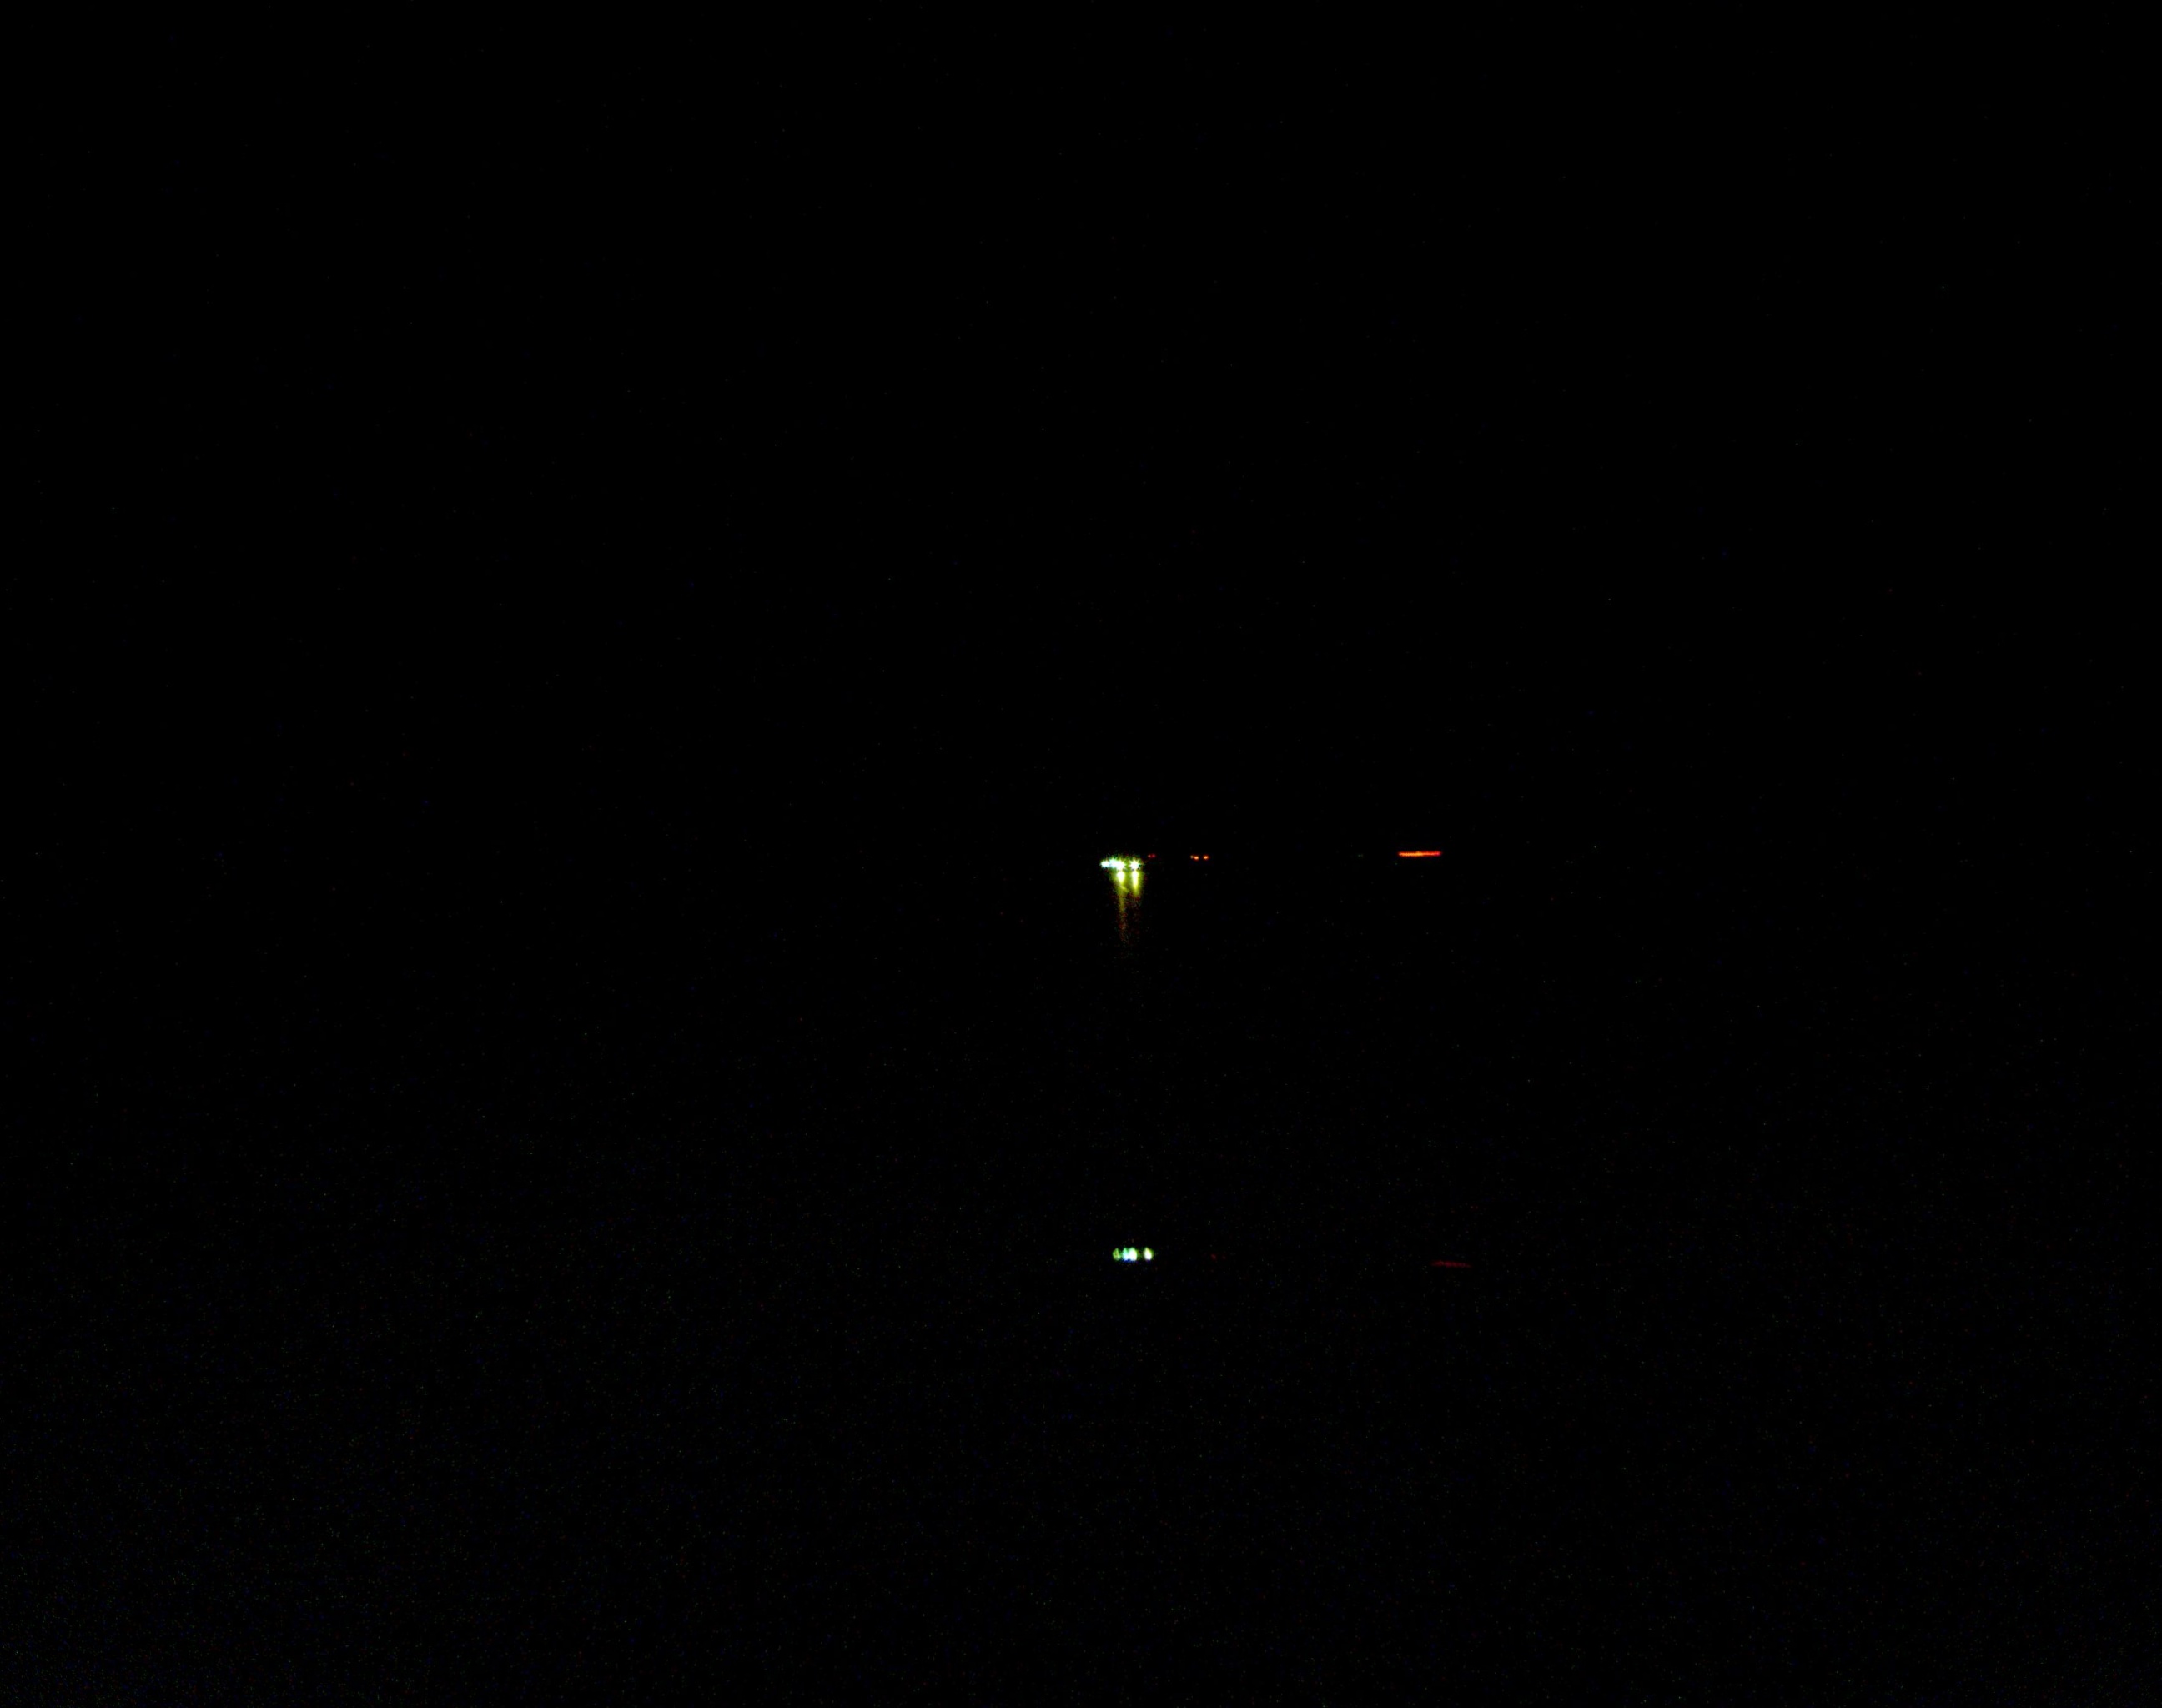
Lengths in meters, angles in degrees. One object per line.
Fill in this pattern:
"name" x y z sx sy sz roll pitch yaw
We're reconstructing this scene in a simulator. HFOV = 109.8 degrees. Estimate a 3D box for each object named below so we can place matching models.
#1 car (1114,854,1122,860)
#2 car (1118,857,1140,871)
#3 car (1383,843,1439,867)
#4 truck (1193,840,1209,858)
"car" 11.413 1.051 233.667 1.999 1.724 4.225 -3 -1 -1
"car" 5.211 1.069 82.593 1.999 1.422 4.329 -3 -1 -1
"car" 22.600 0.066 52.155 1.999 1.500 3.999 -2 0 -2
"truck" 26.654 -1.096 168.885 2.525 3.829 9.066 -2 0 3
